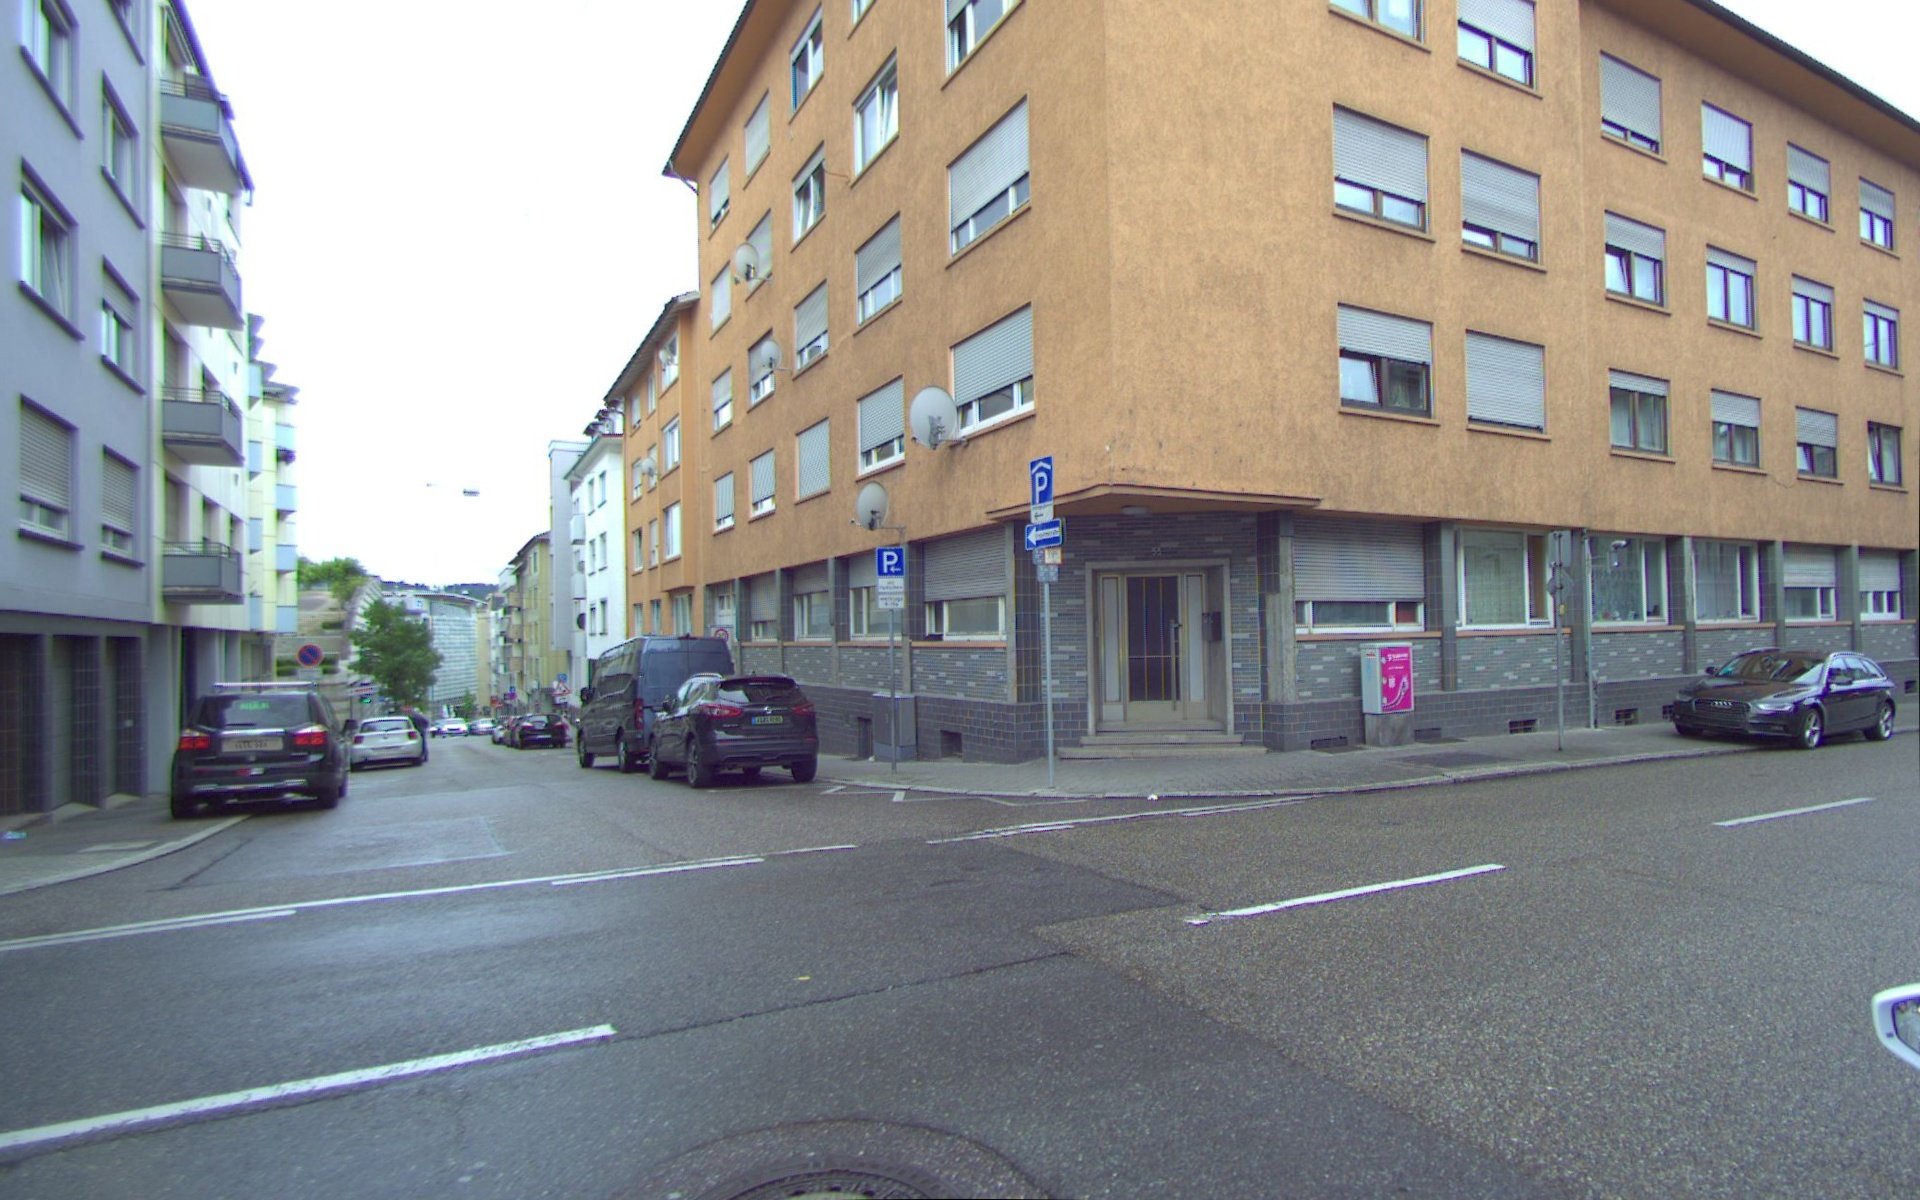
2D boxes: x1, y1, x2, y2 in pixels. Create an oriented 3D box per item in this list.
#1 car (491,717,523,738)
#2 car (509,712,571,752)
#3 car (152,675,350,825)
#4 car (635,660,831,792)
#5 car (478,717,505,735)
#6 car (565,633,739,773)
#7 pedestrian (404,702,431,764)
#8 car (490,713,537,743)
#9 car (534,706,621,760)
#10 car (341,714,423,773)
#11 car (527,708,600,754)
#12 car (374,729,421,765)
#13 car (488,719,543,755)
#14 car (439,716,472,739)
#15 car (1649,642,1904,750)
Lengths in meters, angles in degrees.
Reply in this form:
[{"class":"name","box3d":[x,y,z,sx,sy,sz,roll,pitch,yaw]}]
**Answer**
[{"class":"car","box3d":[-34.775,9.756,77.078,1.908,1.478,3.971,1,-6,-30]},{"class":"car","box3d":[-17.475,5.434,41.693,1.908,1.478,3.971,1,-6,-30]},{"class":"car","box3d":[-9.857,2.048,14.282,1.908,1.739,3.971,1,-6,-30]},{"class":"car","box3d":[-3.601,1.881,15.344,1.906,1.673,3.974,0,-6,-28]},{"class":"car","box3d":[-42.596,11.443,91.225,1.908,1.478,3.971,1,-6,-30]},{"class":"car","box3d":[-6.484,2.123,20.652,1.962,2.490,5.312,1,-6,-34]},{"class":"pedestrian","box3d":[-17.144,4.190,31.742,0.713,1.840,0.600,0,0,-30]},{"class":"car","box3d":[-24.402,6.950,54.826,1.908,1.478,3.971,1,-6,-30]},{"class":"car","box3d":[-11.929,4.089,31.176,1.908,1.478,3.971,1,-6,-30]},{"class":"car","box3d":[-16.539,4.060,28.800,1.908,1.478,3.971,1,-6,-30]},{"class":"car","box3d":[-14.458,4.741,36.542,1.908,1.478,3.971,1,-6,-30]},{"class":"car","box3d":[-26.915,7.001,48.043,1.908,1.478,3.971,1,-6,-30]},{"class":"car","box3d":[-20.520,6.294,46.298,1.908,1.478,3.971,1,-6,-30]},{"class":"car","box3d":[-37.013,9.329,73.648,1.908,1.478,3.969,1,-6,-31]},{"class":"car","box3d":[13.570,1.483,16.638,4.497,1.478,1.882,1,-1,-31]}]
